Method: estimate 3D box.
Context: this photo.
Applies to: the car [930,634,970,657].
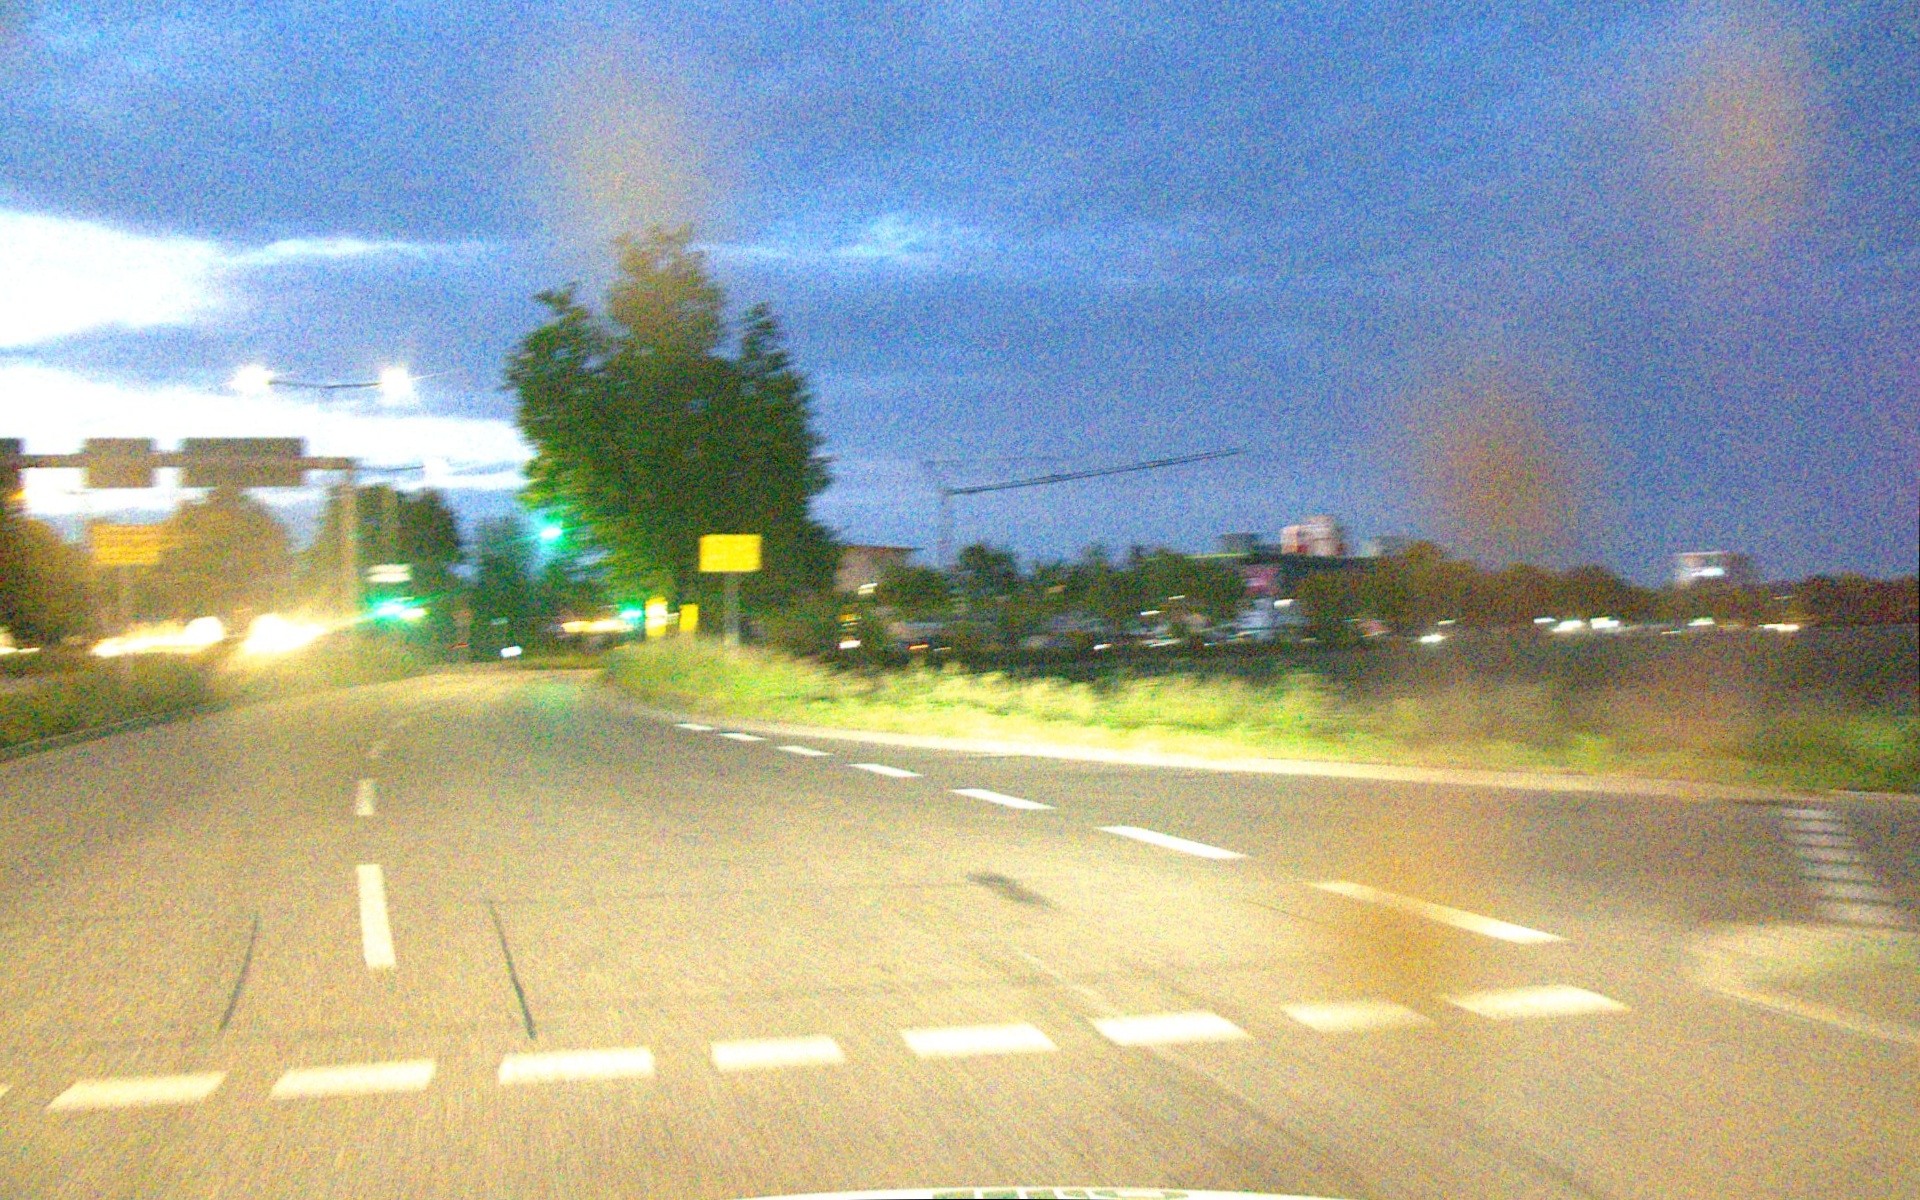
[{"bbox_3d":[-0.953,4.416,160.212,1.958,2.049,3.988,0,0,33],"label":"car"}]
